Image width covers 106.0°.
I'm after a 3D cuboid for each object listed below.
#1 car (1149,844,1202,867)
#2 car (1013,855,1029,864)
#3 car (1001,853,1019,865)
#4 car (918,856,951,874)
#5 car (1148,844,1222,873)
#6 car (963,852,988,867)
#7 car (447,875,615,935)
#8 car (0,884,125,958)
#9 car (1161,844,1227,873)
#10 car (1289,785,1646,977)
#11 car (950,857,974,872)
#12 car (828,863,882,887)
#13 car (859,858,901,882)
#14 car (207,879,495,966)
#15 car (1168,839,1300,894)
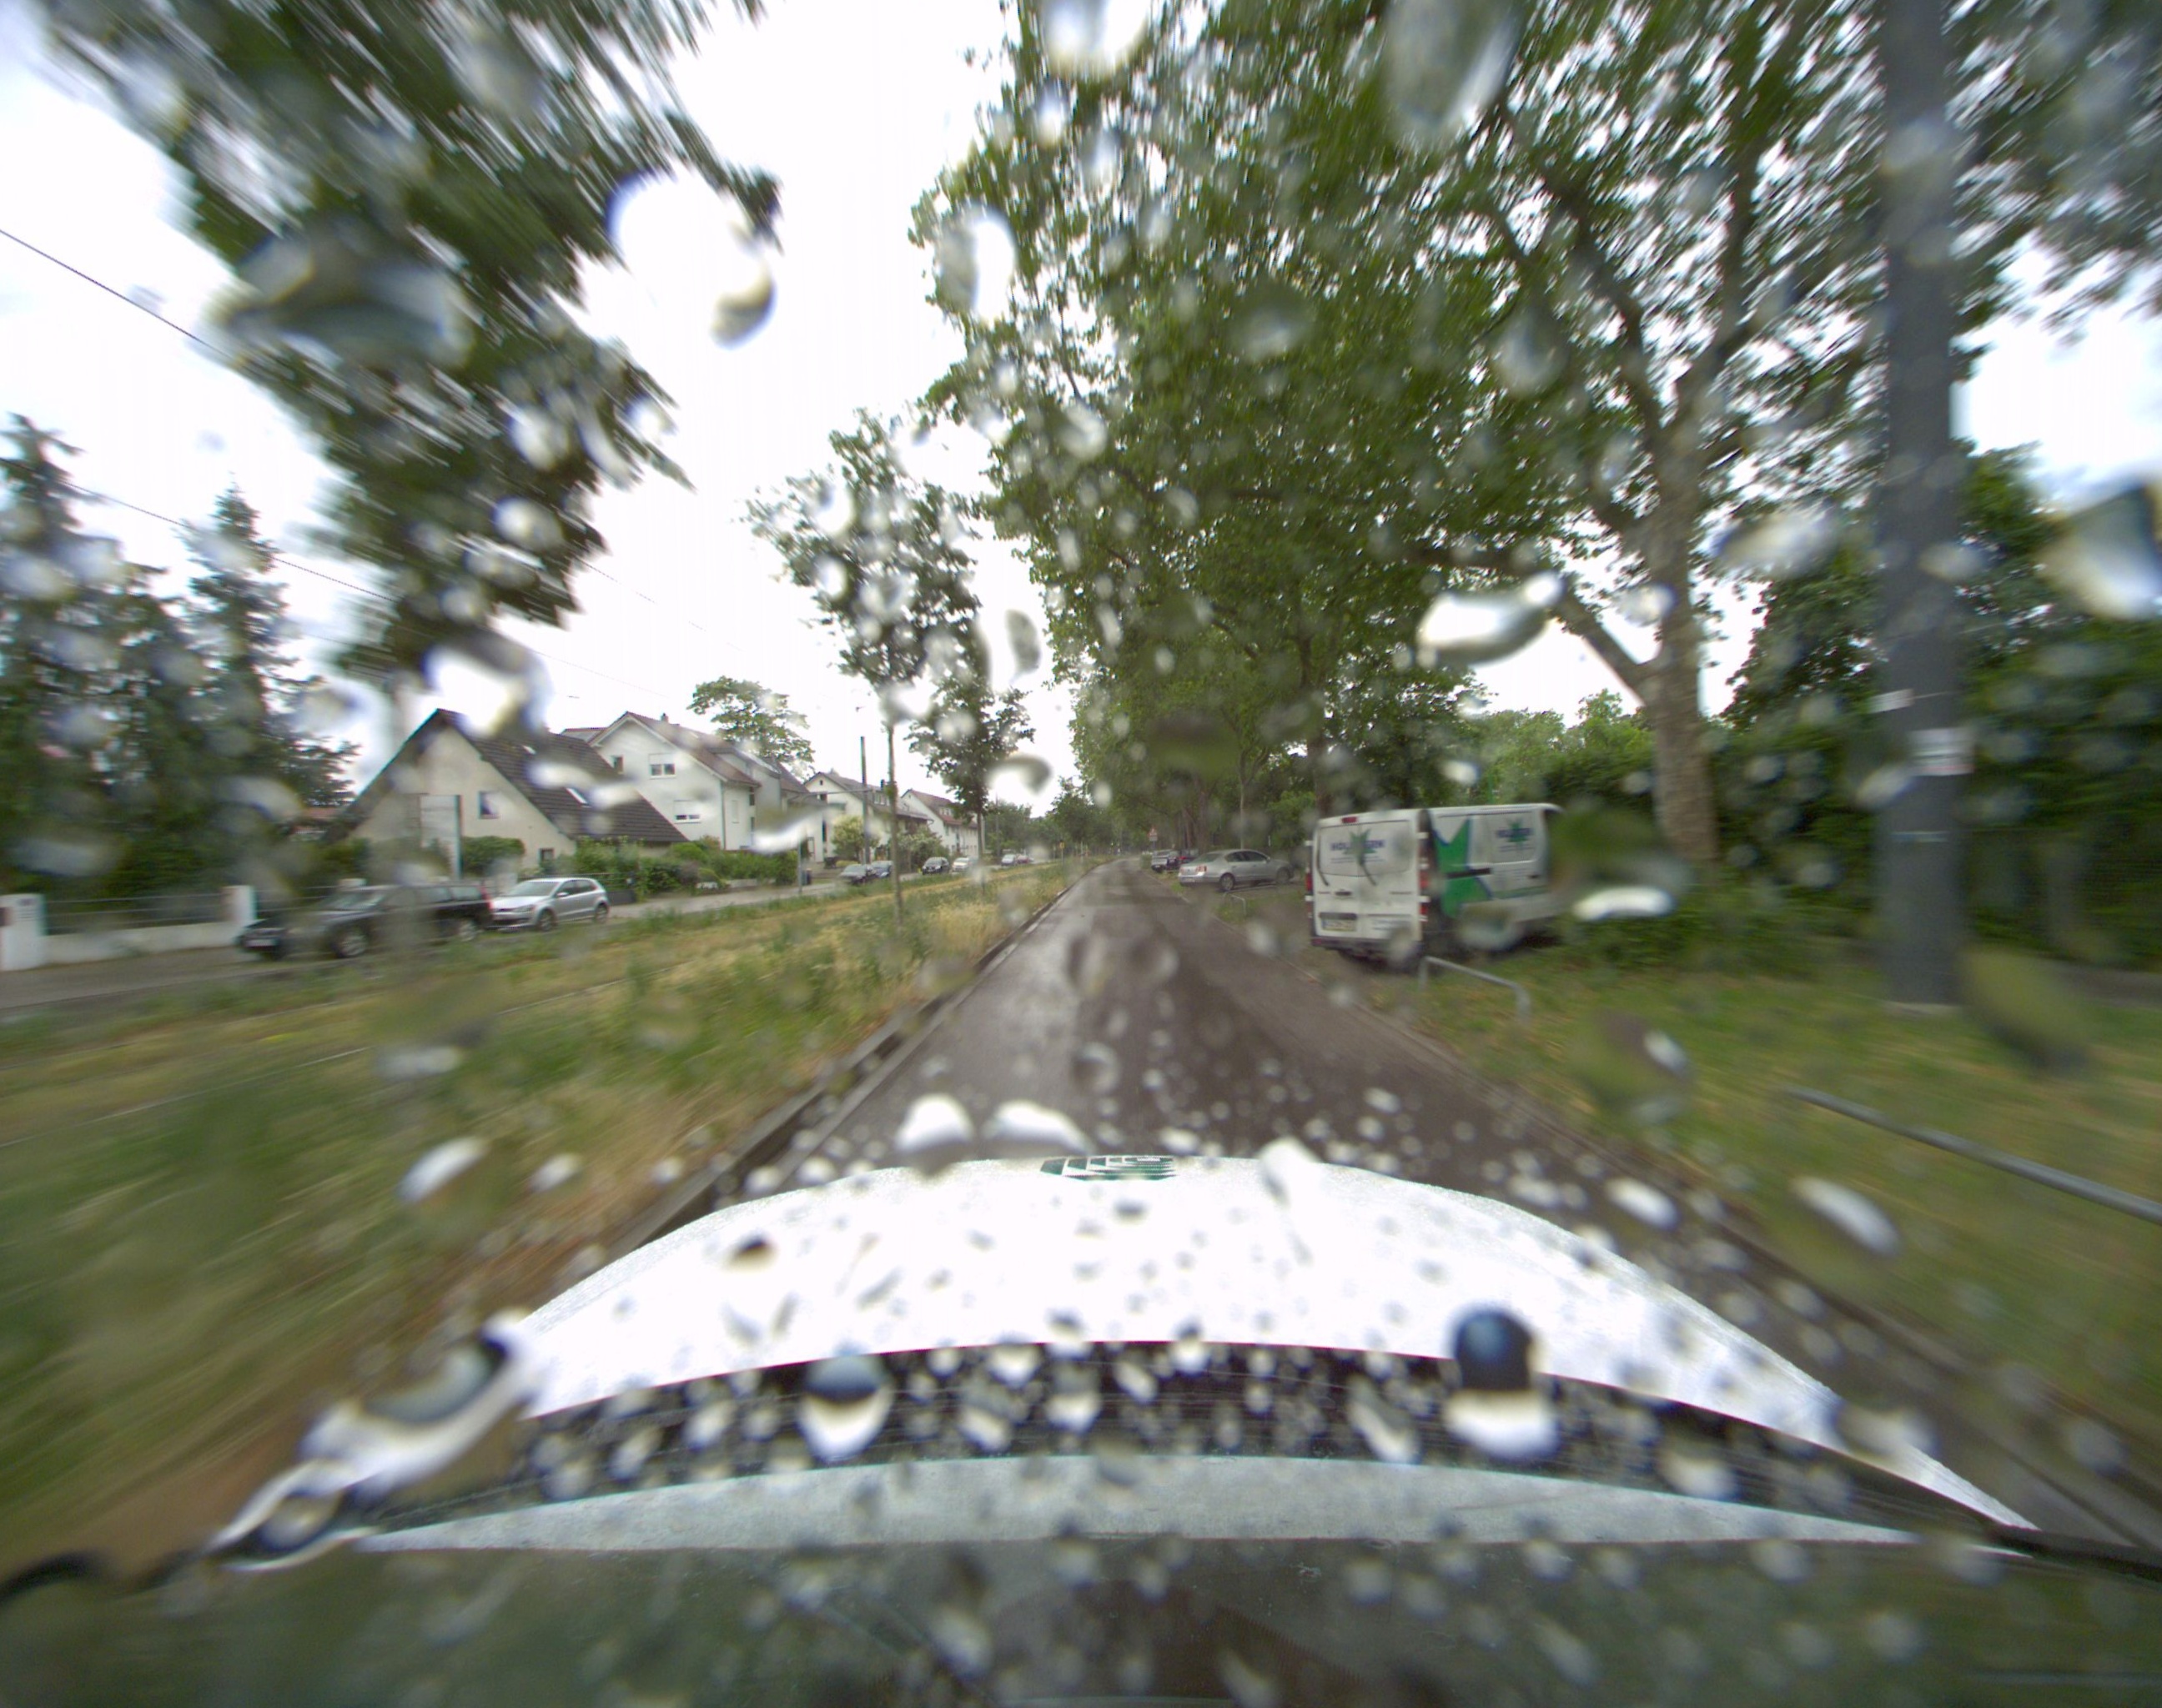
[{"bbox_3d":[7.672,0.137,66.260,3.858,1.566,1.612,-4,0,-12],"label":"car"},{"bbox_3d":[-9.518,0.857,130.212,1.985,1.488,4.209,0,1,3],"label":"car"},{"bbox_3d":[-10.149,0.737,116.489,1.985,1.581,4.521,0,1,3],"label":"car"},{"bbox_3d":[-13.293,1.005,74.103,1.985,1.516,4.209,0,1,3],"label":"car"},{"bbox_3d":[7.047,0.291,55.108,4.795,1.668,1.973,-3,0,-35],"label":"car"},{"bbox_3d":[-12.107,0.571,93.464,1.985,1.614,4.417,0,1,3],"label":"car"},{"bbox_3d":[-15.429,1.381,23.142,1.986,1.411,3.973,0,1,1],"label":"car"},{"bbox_3d":[-23.868,1.470,17.473,1.986,1.455,3.920,0,1,2],"label":"car"},{"bbox_3d":[6.863,0.252,49.383,3.726,1.566,1.603,-3,0,-31],"label":"car"},{"bbox_3d":[5.372,0.193,11.054,5.050,2.013,1.979,-4,1,-33],"label":"car"},{"bbox_3d":[-12.492,1.124,85.928,1.788,1.488,3.600,0,1,3],"label":"car"},{"bbox_3d":[-14.306,1.297,51.779,1.985,1.350,4.244,0,1,3],"label":"car"},{"bbox_3d":[-13.992,1.113,56.904,1.866,1.550,3.872,0,1,2],"label":"car"},{"bbox_3d":[-15.467,1.367,17.690,1.985,1.455,4.536,0,1,3],"label":"car"},{"bbox_3d":[5.648,0.420,29.877,4.576,1.544,1.869,-5,2,-30],"label":"car"}]
